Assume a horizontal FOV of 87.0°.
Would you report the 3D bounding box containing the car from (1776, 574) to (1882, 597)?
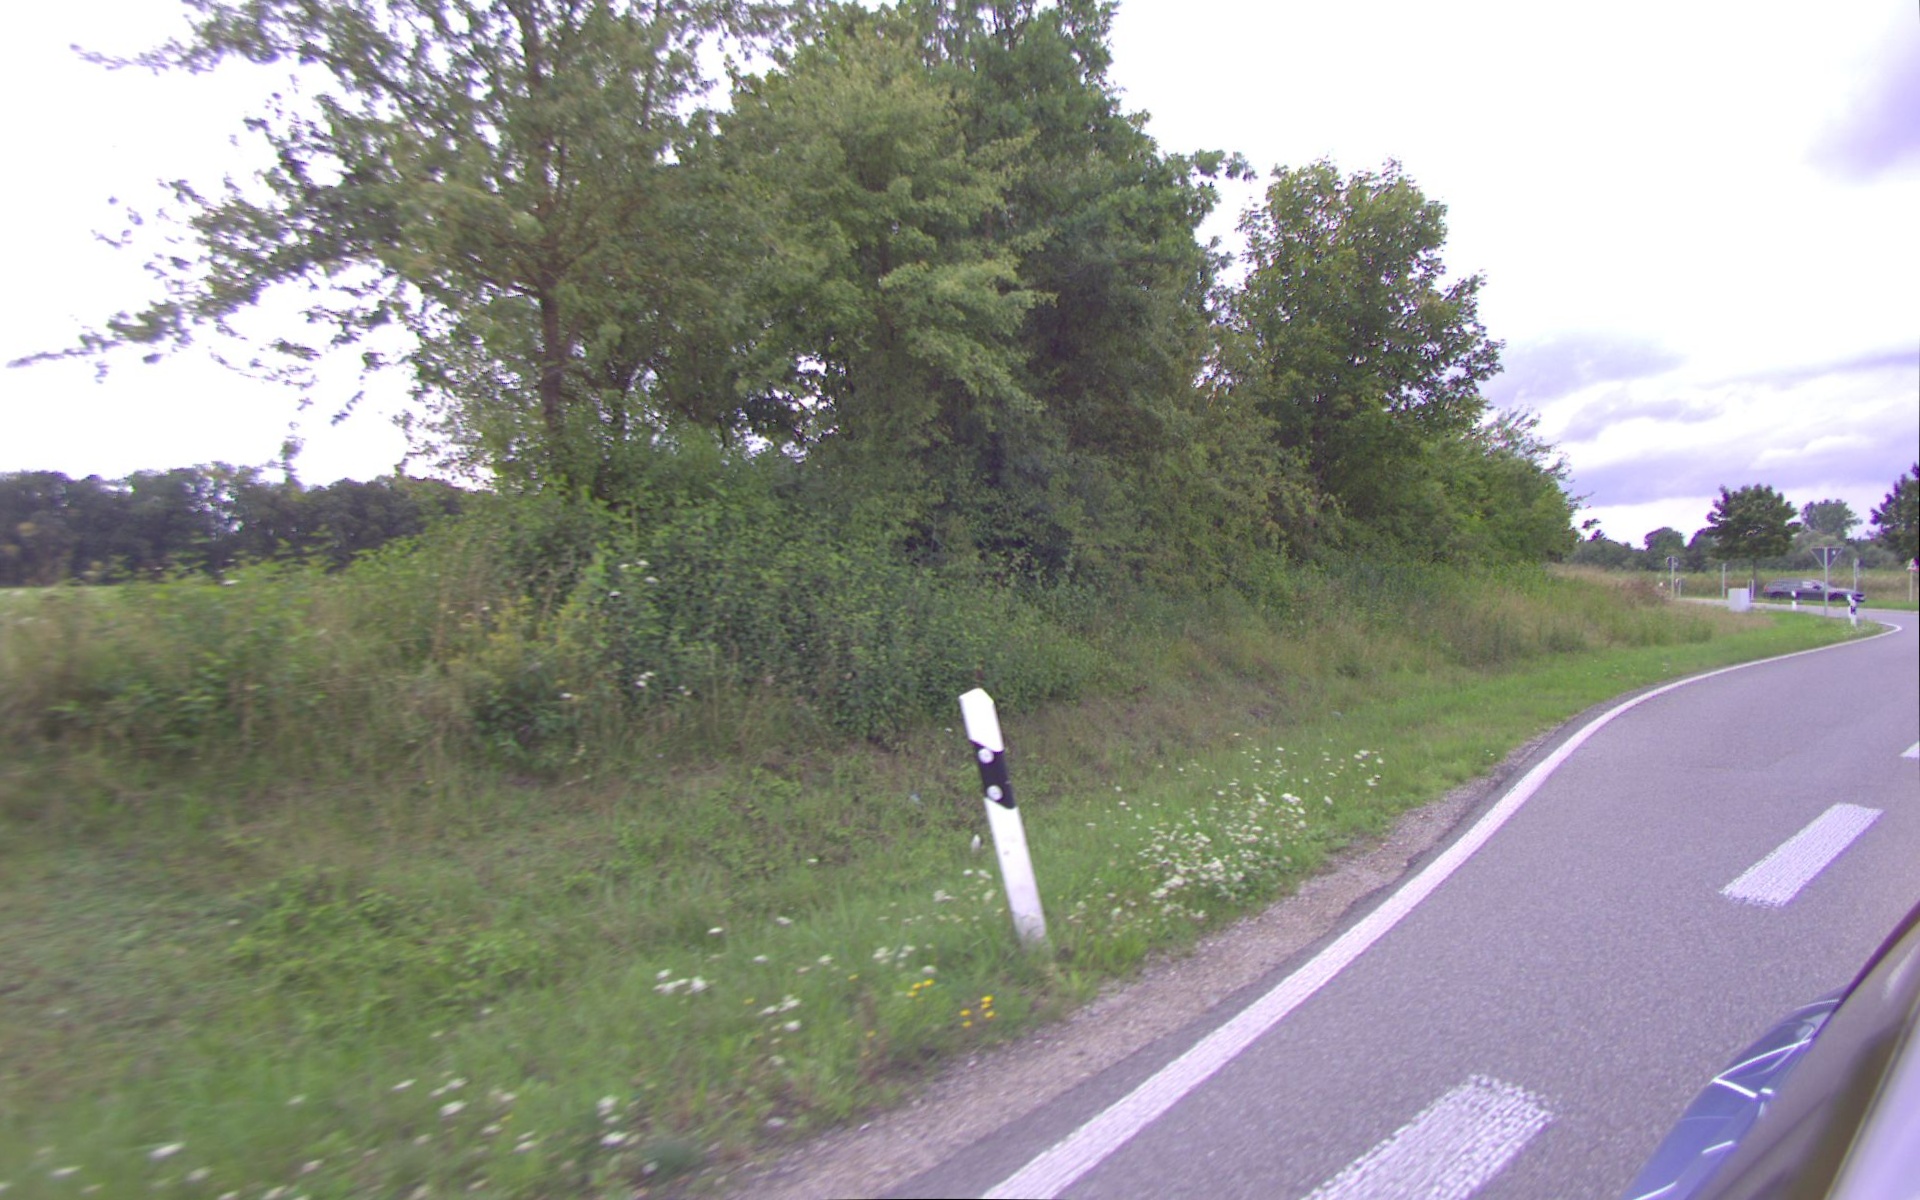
[{"bbox_3d":[49.794,-0.835,58.051,1.831,1.237,4.348,-1,2,-37],"label":"car"}]
